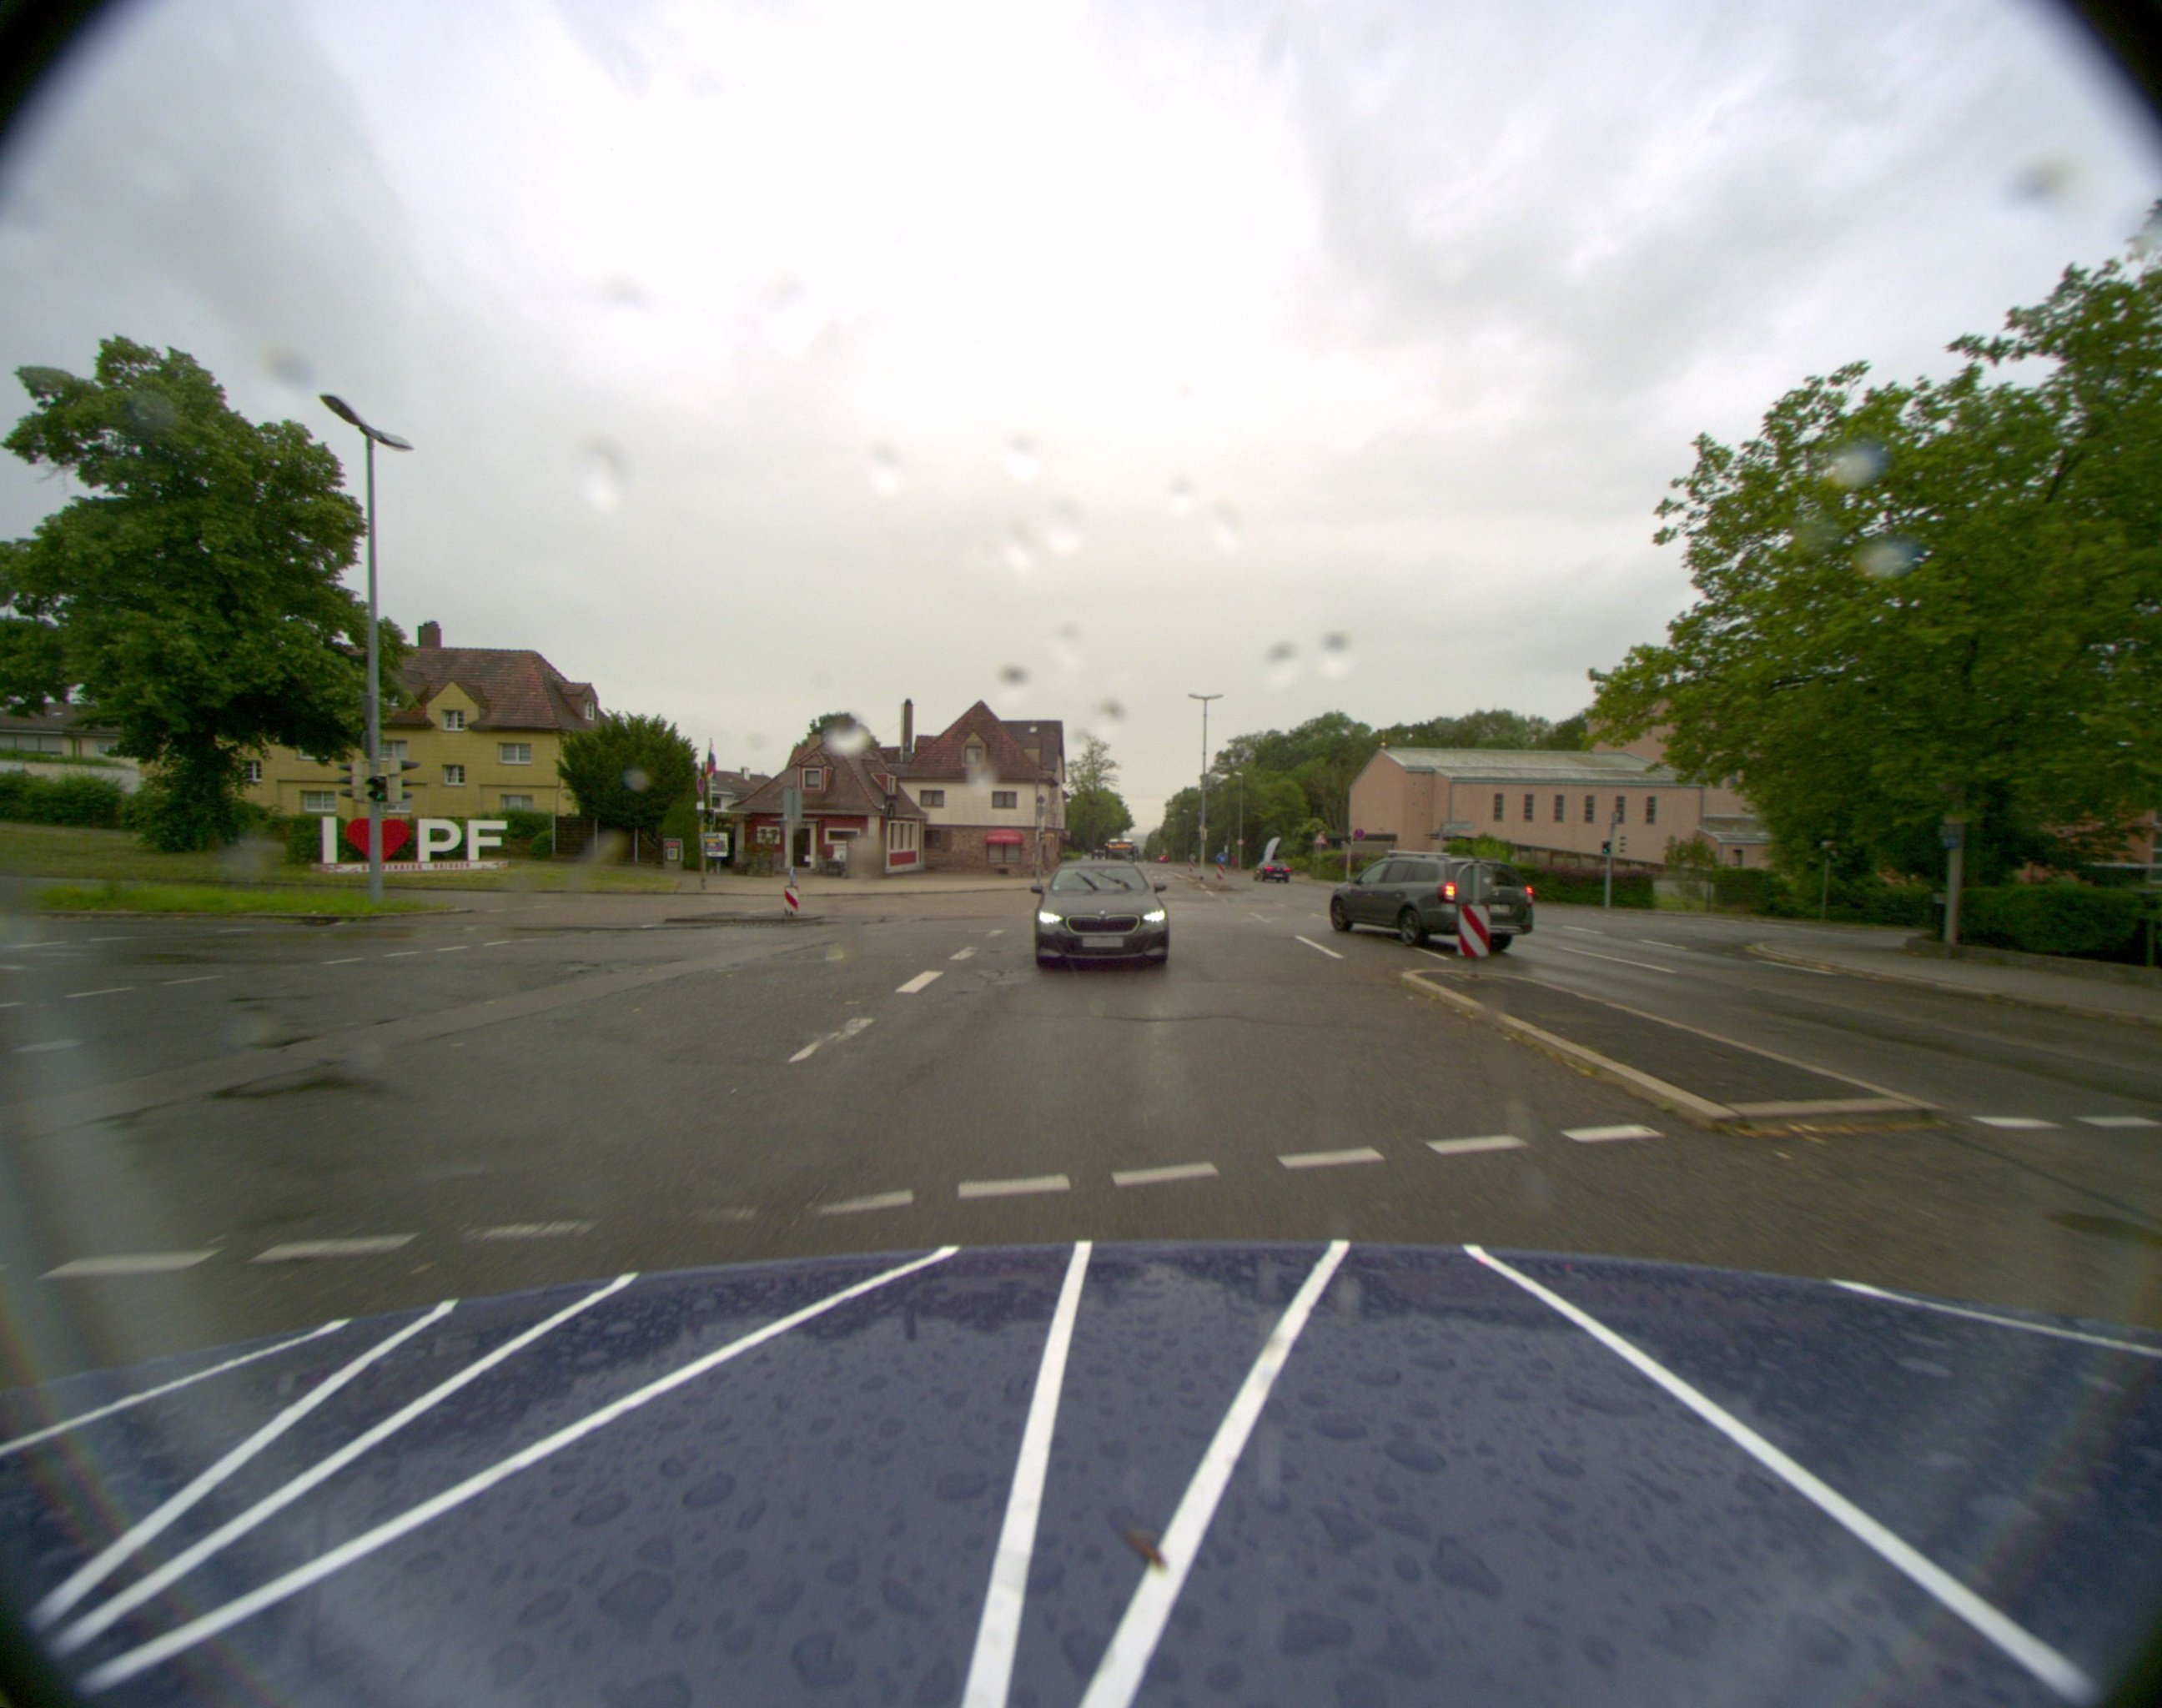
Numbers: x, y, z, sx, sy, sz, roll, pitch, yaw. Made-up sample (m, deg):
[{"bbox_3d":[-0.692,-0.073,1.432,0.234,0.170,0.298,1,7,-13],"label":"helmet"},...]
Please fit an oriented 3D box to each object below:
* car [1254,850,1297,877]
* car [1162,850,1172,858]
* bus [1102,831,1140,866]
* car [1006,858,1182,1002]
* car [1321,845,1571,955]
[{"bbox_3d":[12.701,0.579,49.844,1.998,1.652,4.305,2,0,4],"label":"car"},{"bbox_3d":[20.324,-0.008,179.901,1.998,1.652,4.305,2,0,4],"label":"car"},{"bbox_3d":[3.373,-0.540,66.360,2.897,2.770,10.385,-2,1,1],"label":"bus"},{"bbox_3d":[0.175,0.906,10.976,1.998,1.586,4.147,-2,0,0],"label":"car"},{"bbox_3d":[6.276,0.700,13.749,2.000,1.652,4.300,2,0,-8],"label":"car"}]
